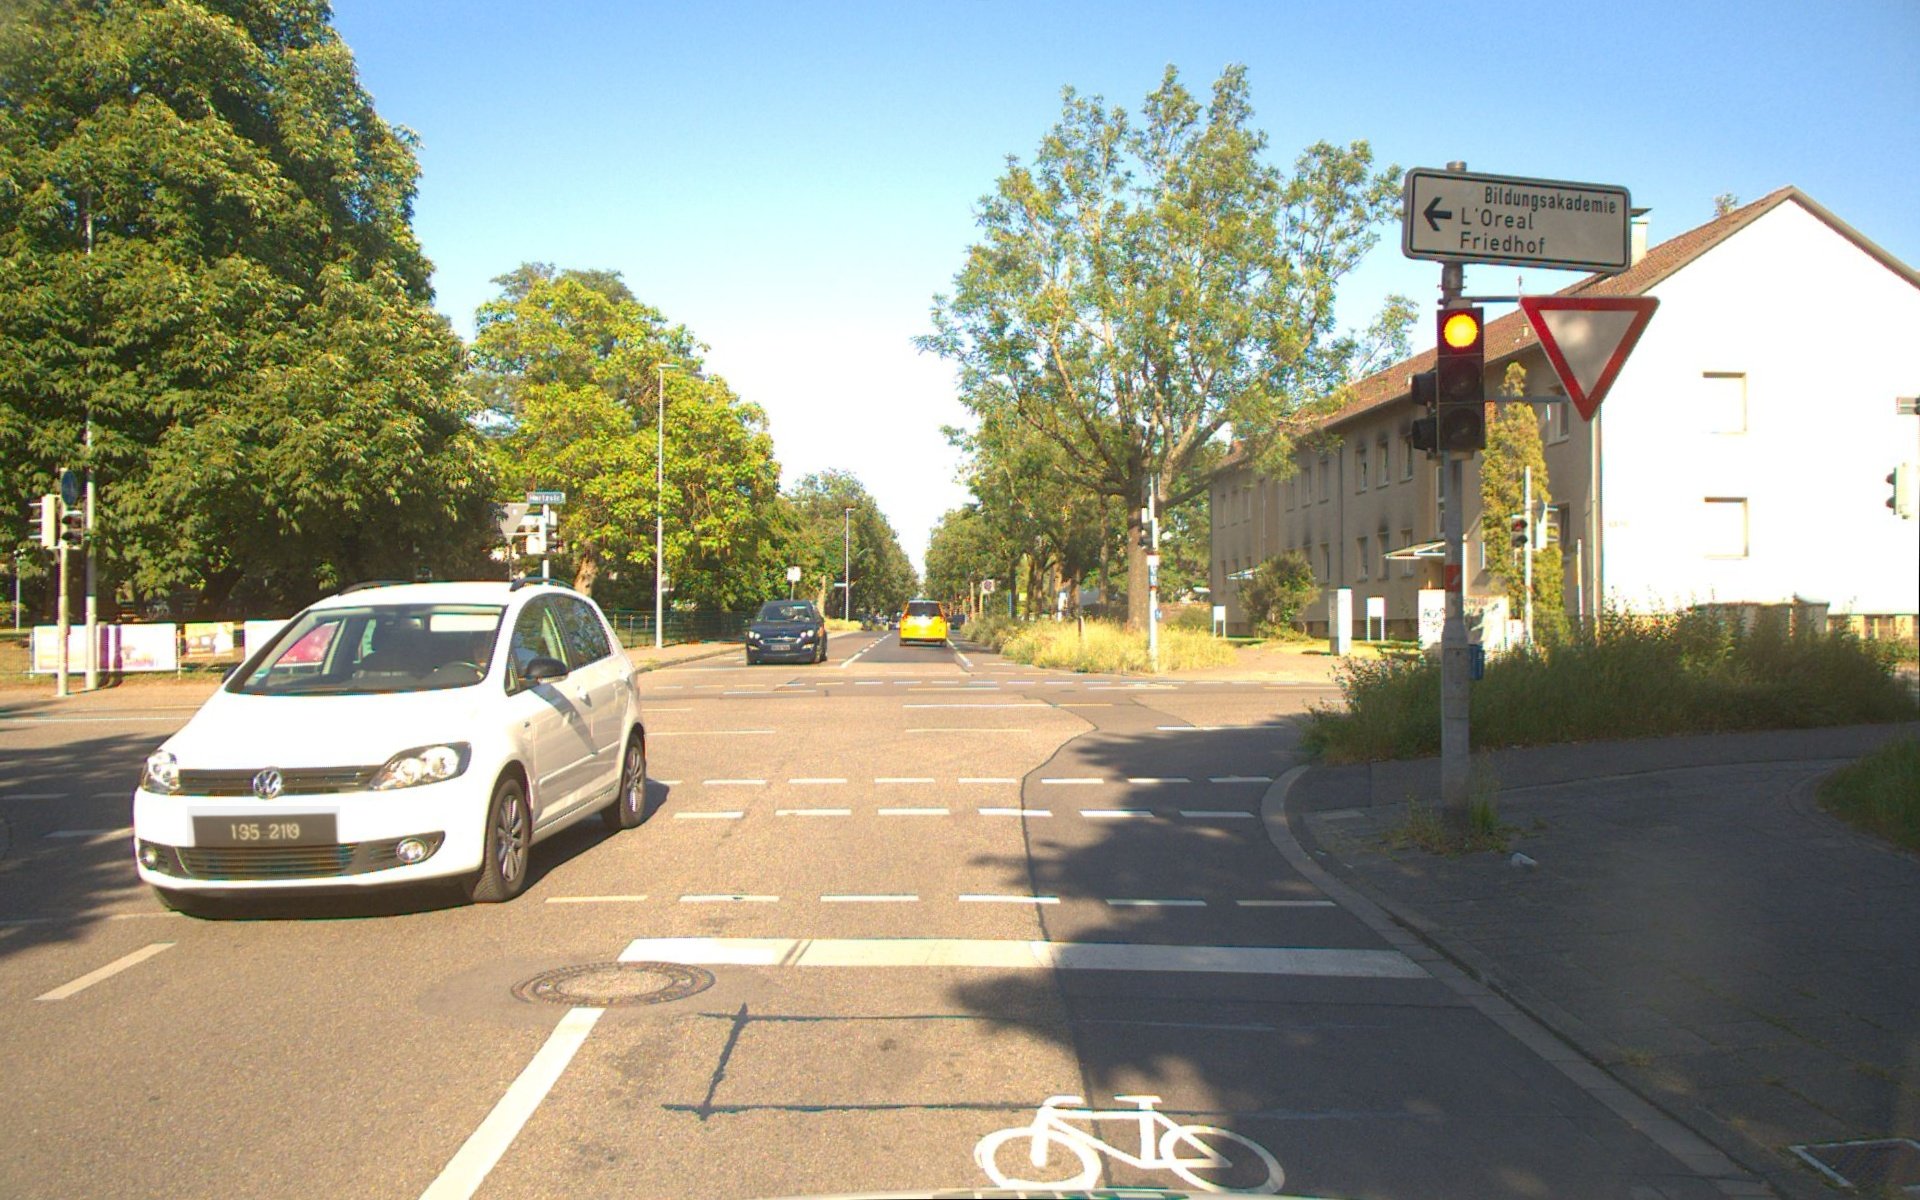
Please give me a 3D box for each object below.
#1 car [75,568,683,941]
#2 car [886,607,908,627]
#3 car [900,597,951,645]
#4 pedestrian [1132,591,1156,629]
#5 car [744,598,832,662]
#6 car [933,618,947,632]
[{"bbox_3d":[-2.921,0.673,9.366,1.715,1.590,4.122,-2,0,4],"label":"car"},{"bbox_3d":[-5.376,1.435,141.676,1.722,1.653,3.268,0,0,0],"label":"car"},{"bbox_3d":[-1.194,0.720,58.443,1.716,1.610,3.999,1,0,-1],"label":"car"},{"bbox_3d":[7.574,0.408,68.277,0.825,1.519,0.924,2,0,-1],"label":"pedestrian"},{"bbox_3d":[-3.961,0.666,38.530,1.676,1.410,3.471,0,0,0],"label":"car"},{"bbox_3d":[-2.669,3.356,219.132,1.737,1.785,3.999,1,0,-1],"label":"car"}]
